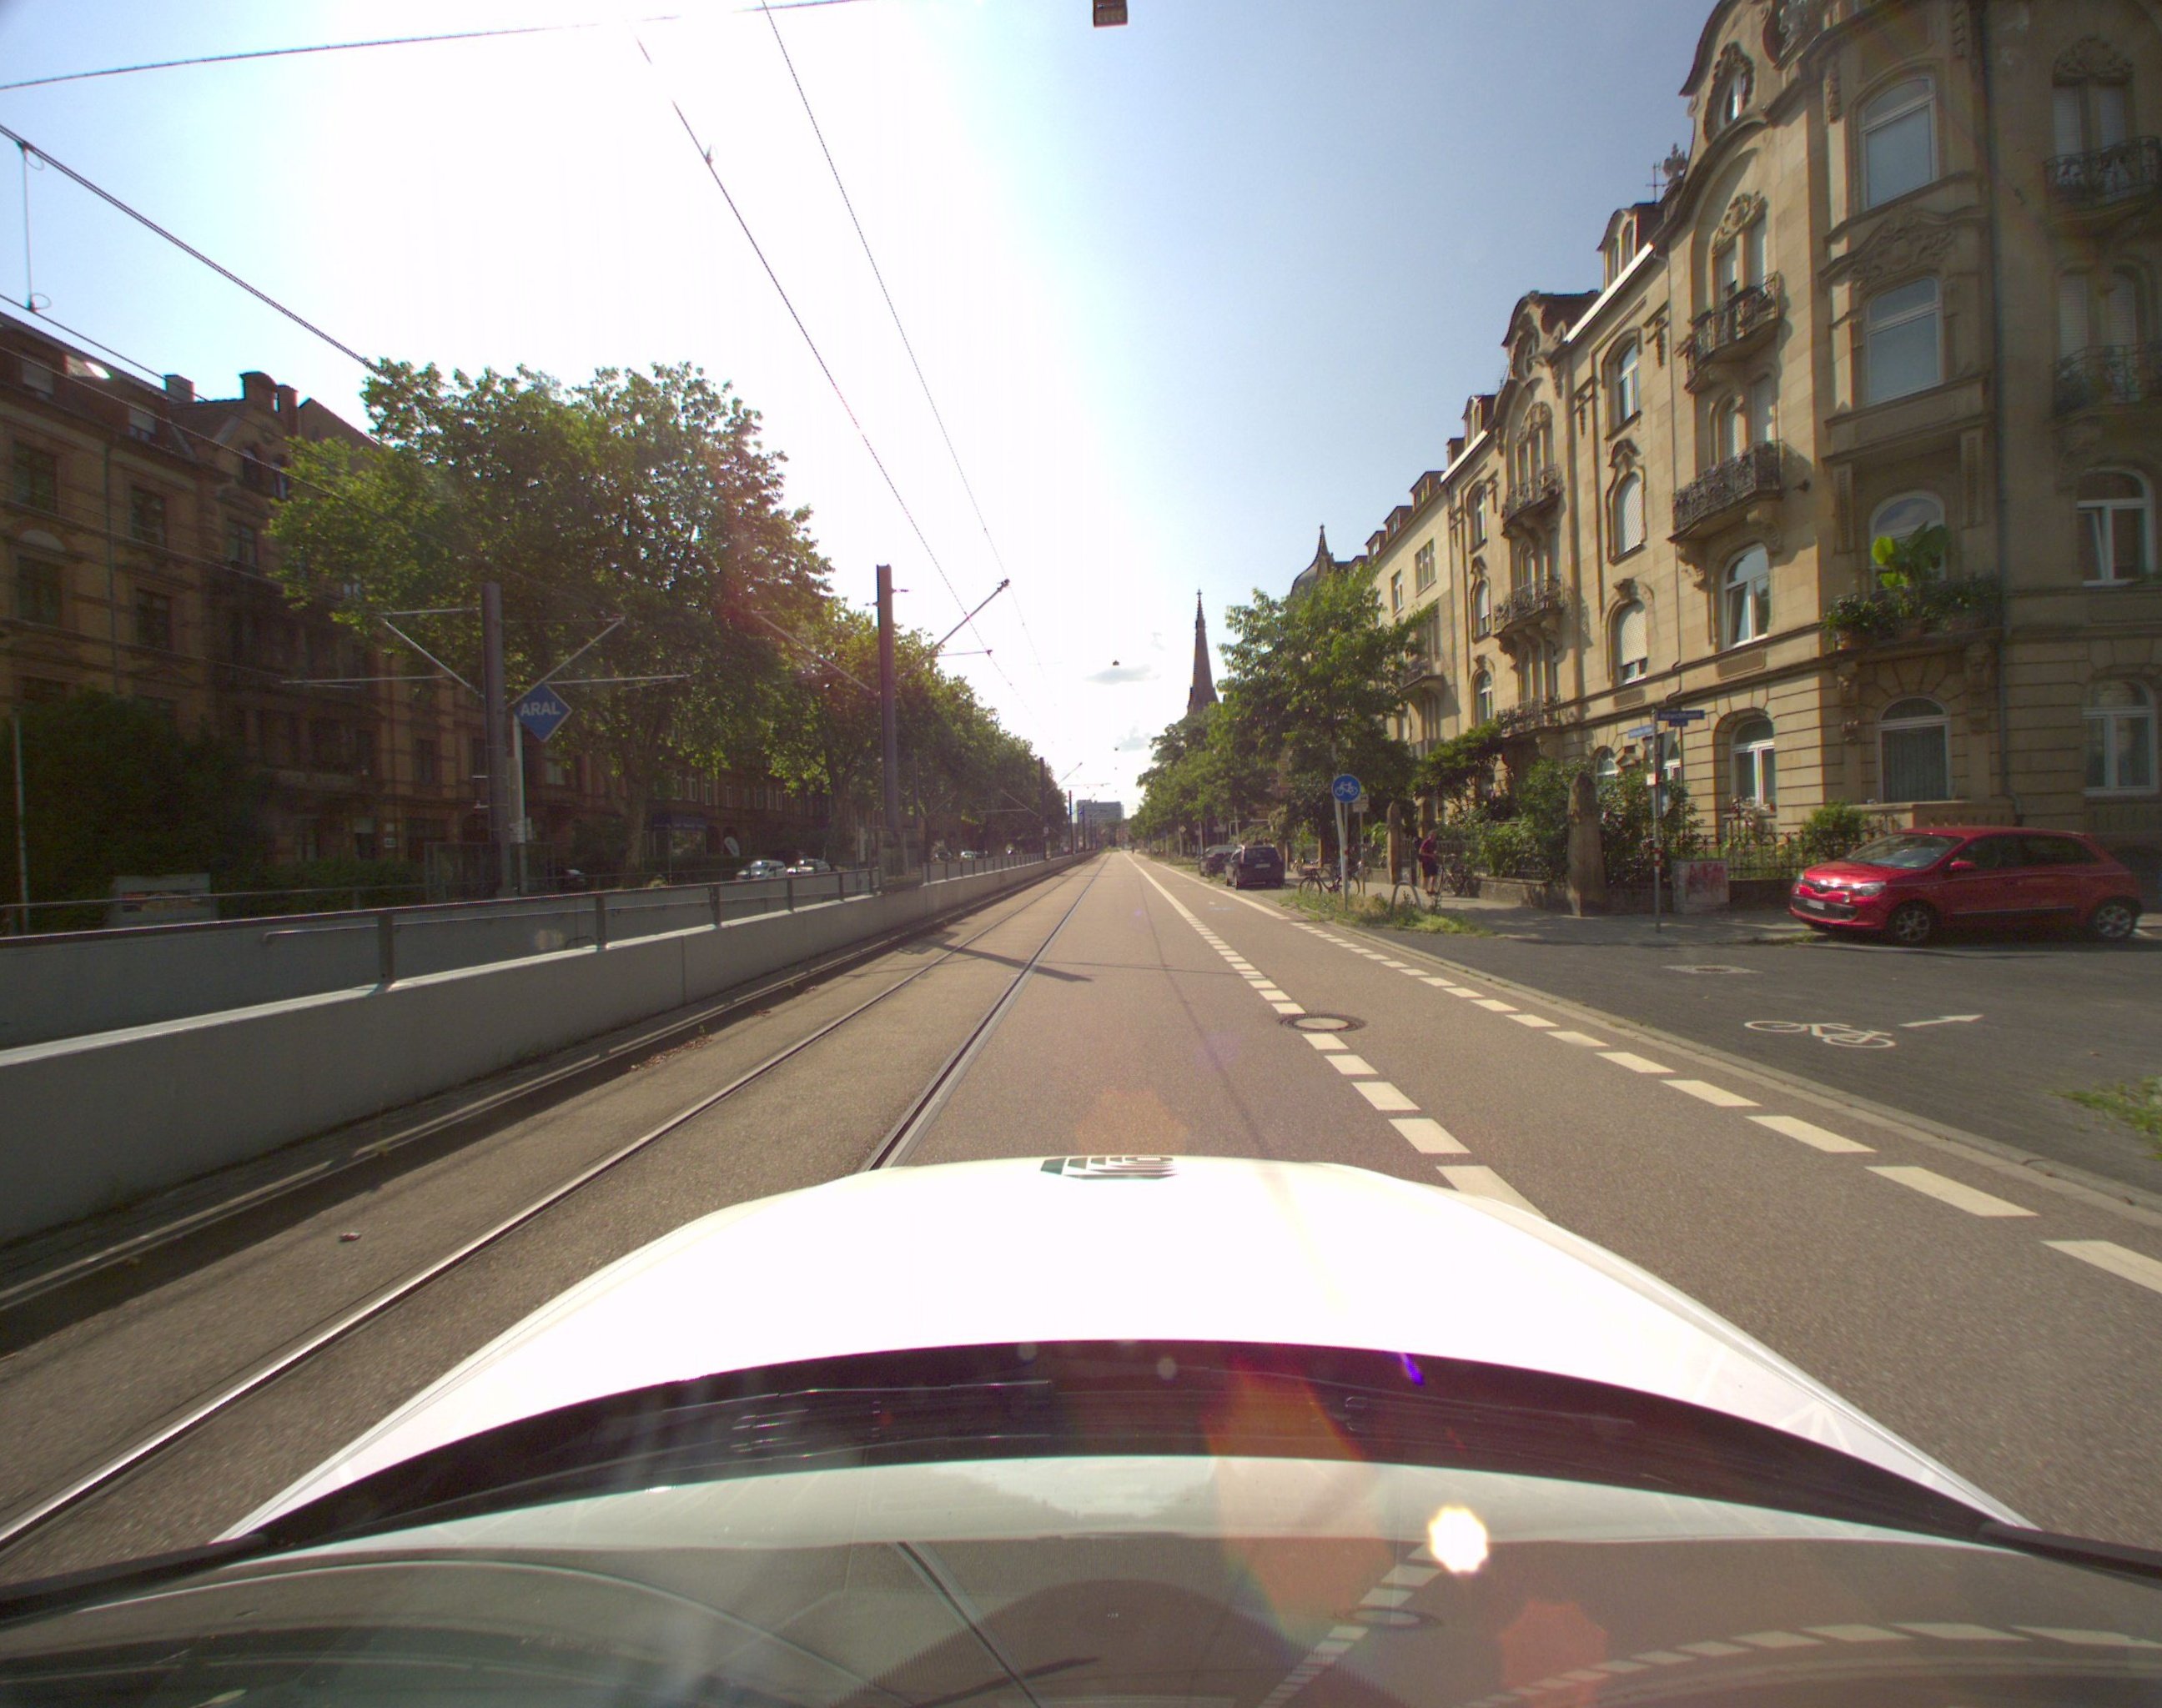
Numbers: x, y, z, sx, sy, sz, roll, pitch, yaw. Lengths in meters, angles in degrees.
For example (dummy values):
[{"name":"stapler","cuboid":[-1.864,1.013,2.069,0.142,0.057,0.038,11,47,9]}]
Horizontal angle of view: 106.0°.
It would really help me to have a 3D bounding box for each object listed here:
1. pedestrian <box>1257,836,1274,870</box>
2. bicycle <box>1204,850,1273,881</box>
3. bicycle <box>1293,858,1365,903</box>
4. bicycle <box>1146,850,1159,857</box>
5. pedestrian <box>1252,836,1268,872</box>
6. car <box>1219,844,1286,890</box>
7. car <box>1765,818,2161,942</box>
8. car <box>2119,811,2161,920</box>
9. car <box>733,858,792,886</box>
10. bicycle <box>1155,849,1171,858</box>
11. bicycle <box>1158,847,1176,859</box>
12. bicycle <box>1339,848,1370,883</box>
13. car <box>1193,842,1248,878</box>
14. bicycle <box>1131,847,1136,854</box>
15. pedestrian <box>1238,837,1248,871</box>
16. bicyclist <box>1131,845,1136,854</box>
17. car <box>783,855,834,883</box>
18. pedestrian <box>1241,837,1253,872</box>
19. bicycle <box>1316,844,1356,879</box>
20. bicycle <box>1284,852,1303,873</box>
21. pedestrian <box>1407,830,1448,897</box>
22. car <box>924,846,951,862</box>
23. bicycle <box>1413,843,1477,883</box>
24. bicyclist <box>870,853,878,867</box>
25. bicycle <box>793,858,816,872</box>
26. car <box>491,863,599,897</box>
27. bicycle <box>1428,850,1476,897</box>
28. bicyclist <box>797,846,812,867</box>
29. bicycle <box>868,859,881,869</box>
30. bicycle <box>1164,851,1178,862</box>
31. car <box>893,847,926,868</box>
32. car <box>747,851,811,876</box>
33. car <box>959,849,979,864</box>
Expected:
[{"name":"pedestrian","cuboid":[9.133,-0.047,40.299,0.529,1.676,0.571,-4,0,-16]},{"name":"bicycle","cuboid":[7.063,0.514,36.608,2.947,1.246,0.790,-2,0,-11]},{"name":"bicycle","cuboid":[6.394,0.681,21.027,1.702,1.069,0.471,-2,0,-4]},{"name":"bicycle","cuboid":[10.076,-0.061,115.076,1.811,0.902,0.603,-4,1,-1]},{"name":"pedestrian","cuboid":[9.235,-0.010,42.023,0.667,1.804,0.319,-4,0,0]},{"name":"car","cuboid":[6.243,0.403,30.128,1.679,1.502,4.712,-2,1,3]},{"name":"car","cuboid":[12.562,0.335,11.794,3.723,1.555,1.760,-2,1,5]},{"name":"car","cuboid":[17.975,0.103,11.470,4.238,1.617,1.833,-2,0,2]},{"name":"car","cuboid":[-17.322,0.968,44.444,1.490,1.303,3.496,-4,1,5]},{"name":"bicycle","cuboid":[9.993,-0.034,98.869,1.811,0.902,0.651,-4,1,-1]},{"name":"bicycle","cuboid":[9.107,-0.067,86.242,1.815,1.145,0.650,-4,0,-9]},{"name":"bicycle","cuboid":[9.525,0.376,28.413,0.425,1.139,2.025,-5,0,3]},{"name":"car","cuboid":[6.811,0.262,40.139,1.793,1.526,4.487,-4,1,-1]},{"name":"bicycle","cuboid":[10.046,-0.680,156.006,0.796,1.236,2.780,-2,0,3]},{"name":"pedestrian","cuboid":[8.294,-0.007,41.712,0.316,1.706,0.462,-4,0,16]},{"name":"bicyclist","cuboid":[10.040,-0.839,155.950,0.767,1.730,1.027,-2,0,3]},{"name":"car","cuboid":[-17.037,0.914,51.058,1.637,1.482,4.004,-4,1,2]},{"name":"pedestrian","cuboid":[8.687,0.026,42.624,0.457,1.804,0.319,-4,0,1]},{"name":"bicycle","cuboid":[9.752,0.271,31.265,0.655,1.248,2.945,-5,0,3]},{"name":"bicycle","cuboid":[10.000,0.395,38.396,0.425,0.940,1.809,-5,0,3]},{"name":"pedestrian","cuboid":[8.765,0.232,20.626,0.720,1.629,0.725,-2,0,2]},{"name":"car","cuboid":[-16.057,-0.003,91.348,1.984,1.636,4.006,-4,1,5]},{"name":"bicycle","cuboid":[11.118,0.256,24.876,1.702,1.069,0.471,-5,0,-4]},{"name":"bicyclist","cuboid":[-19.302,0.540,75.939,0.533,1.232,0.724,-2,0,2]},{"name":"bicycle","cuboid":[-19.930,0.785,58.758,0.668,0.913,2.370,-2,0,3]},{"name":"car","cuboid":[-26.350,1.270,40.131,3.969,1.483,2.003,-2,0,4]},{"name":"bicycle","cuboid":[9.272,0.463,20.430,0.468,1.108,1.712,-2,0,3]},{"name":"bicyclist","cuboid":[-19.947,0.159,58.741,0.686,1.455,1.045,-2,0,2]},{"name":"bicycle","cuboid":[-19.290,0.923,75.965,0.533,0.913,2.150,-2,0,3]},{"name":"bicycle","cuboid":[8.977,0.225,81.067,0.651,1.038,1.810,-4,1,-19]},{"name":"car","cuboid":[-16.064,0.328,76.416,1.708,1.691,3.739,-4,1,9]},{"name":"car","cuboid":[-24.890,0.746,67.238,4.386,1.918,2.000,-2,0,1]},{"name":"car","cuboid":[-14.991,0.326,109.525,1.831,1.727,4.003,-4,1,3]}]
